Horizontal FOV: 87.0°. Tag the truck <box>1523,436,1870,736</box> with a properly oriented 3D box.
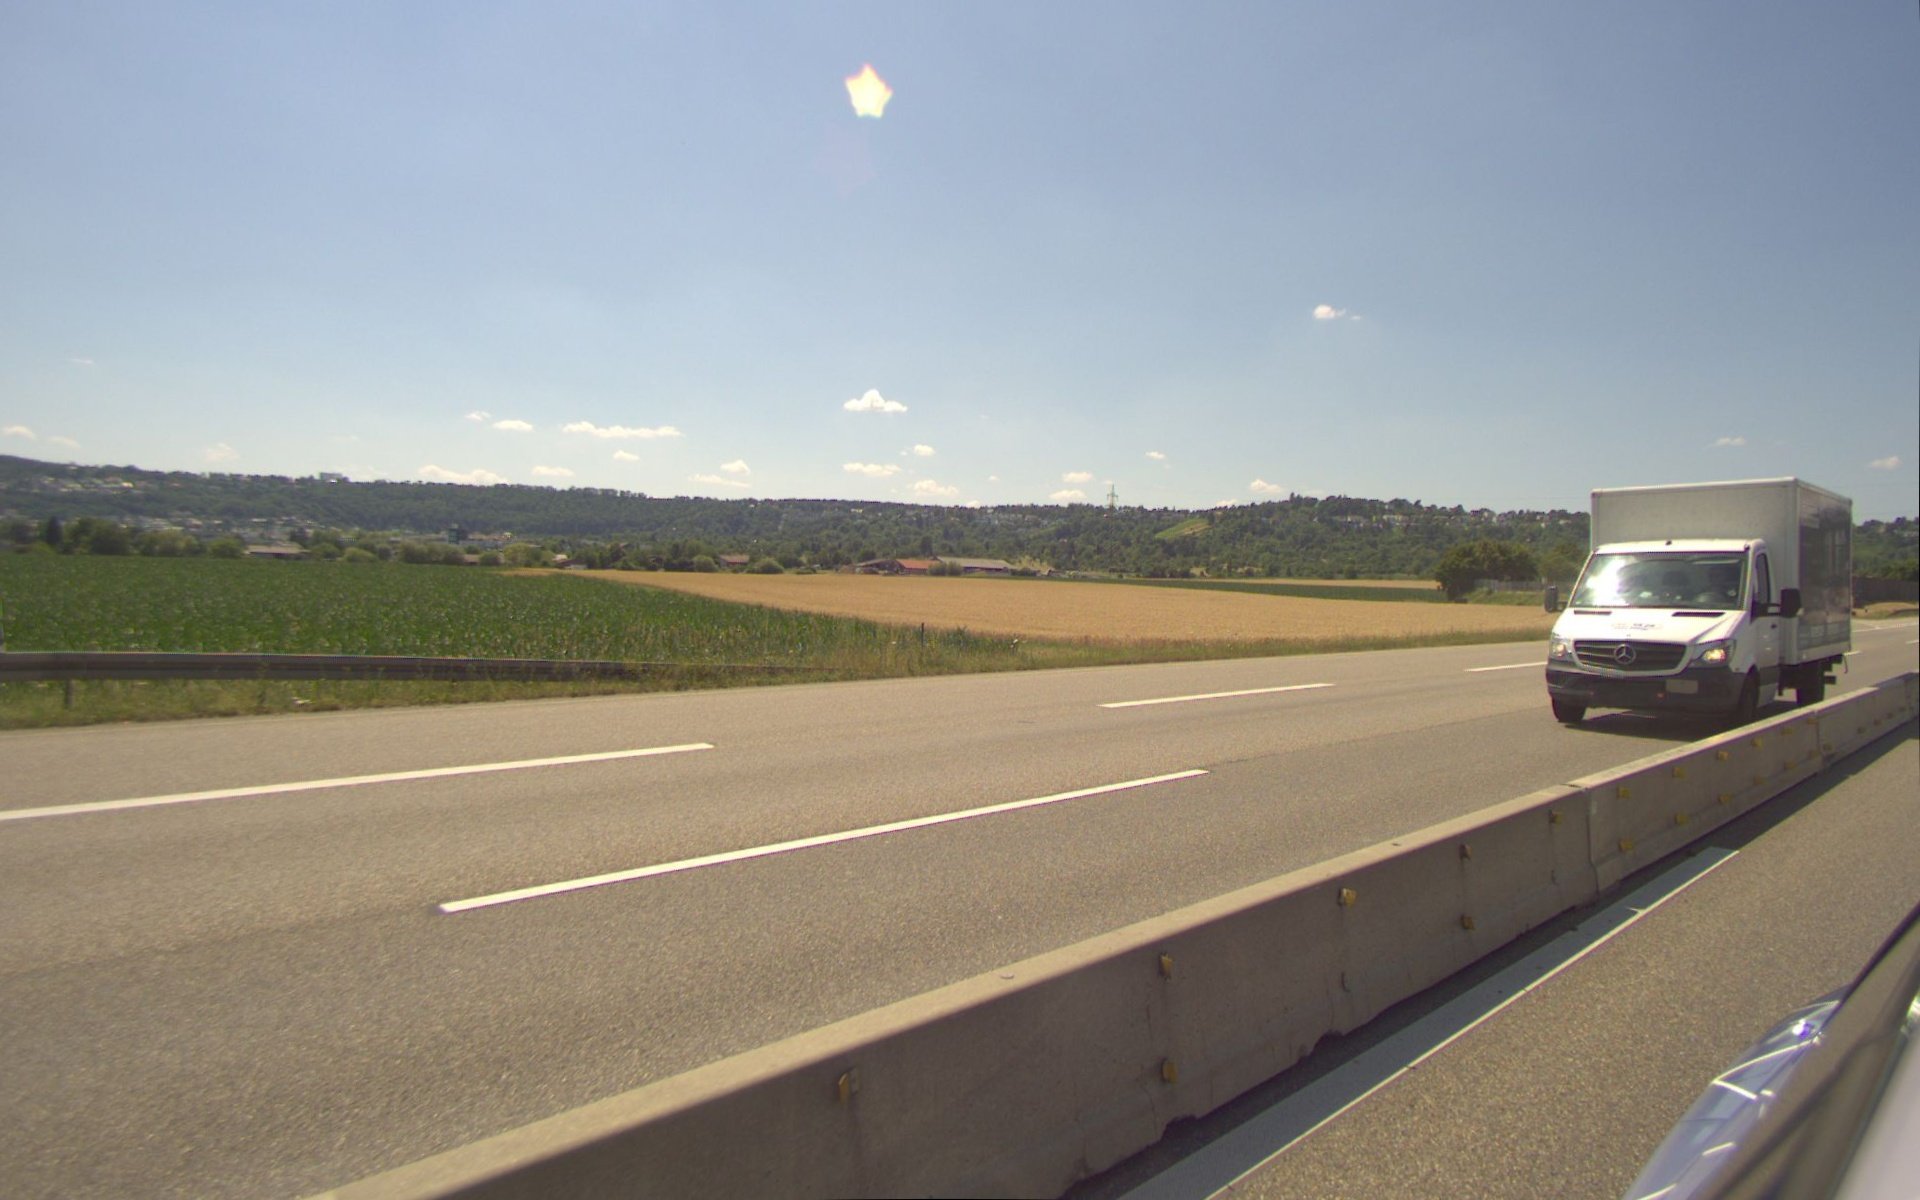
[{"bbox_3d":[10.091,-0.120,13.557,6.632,3.106,2.325,1,-1,-41],"label":"truck"}]
